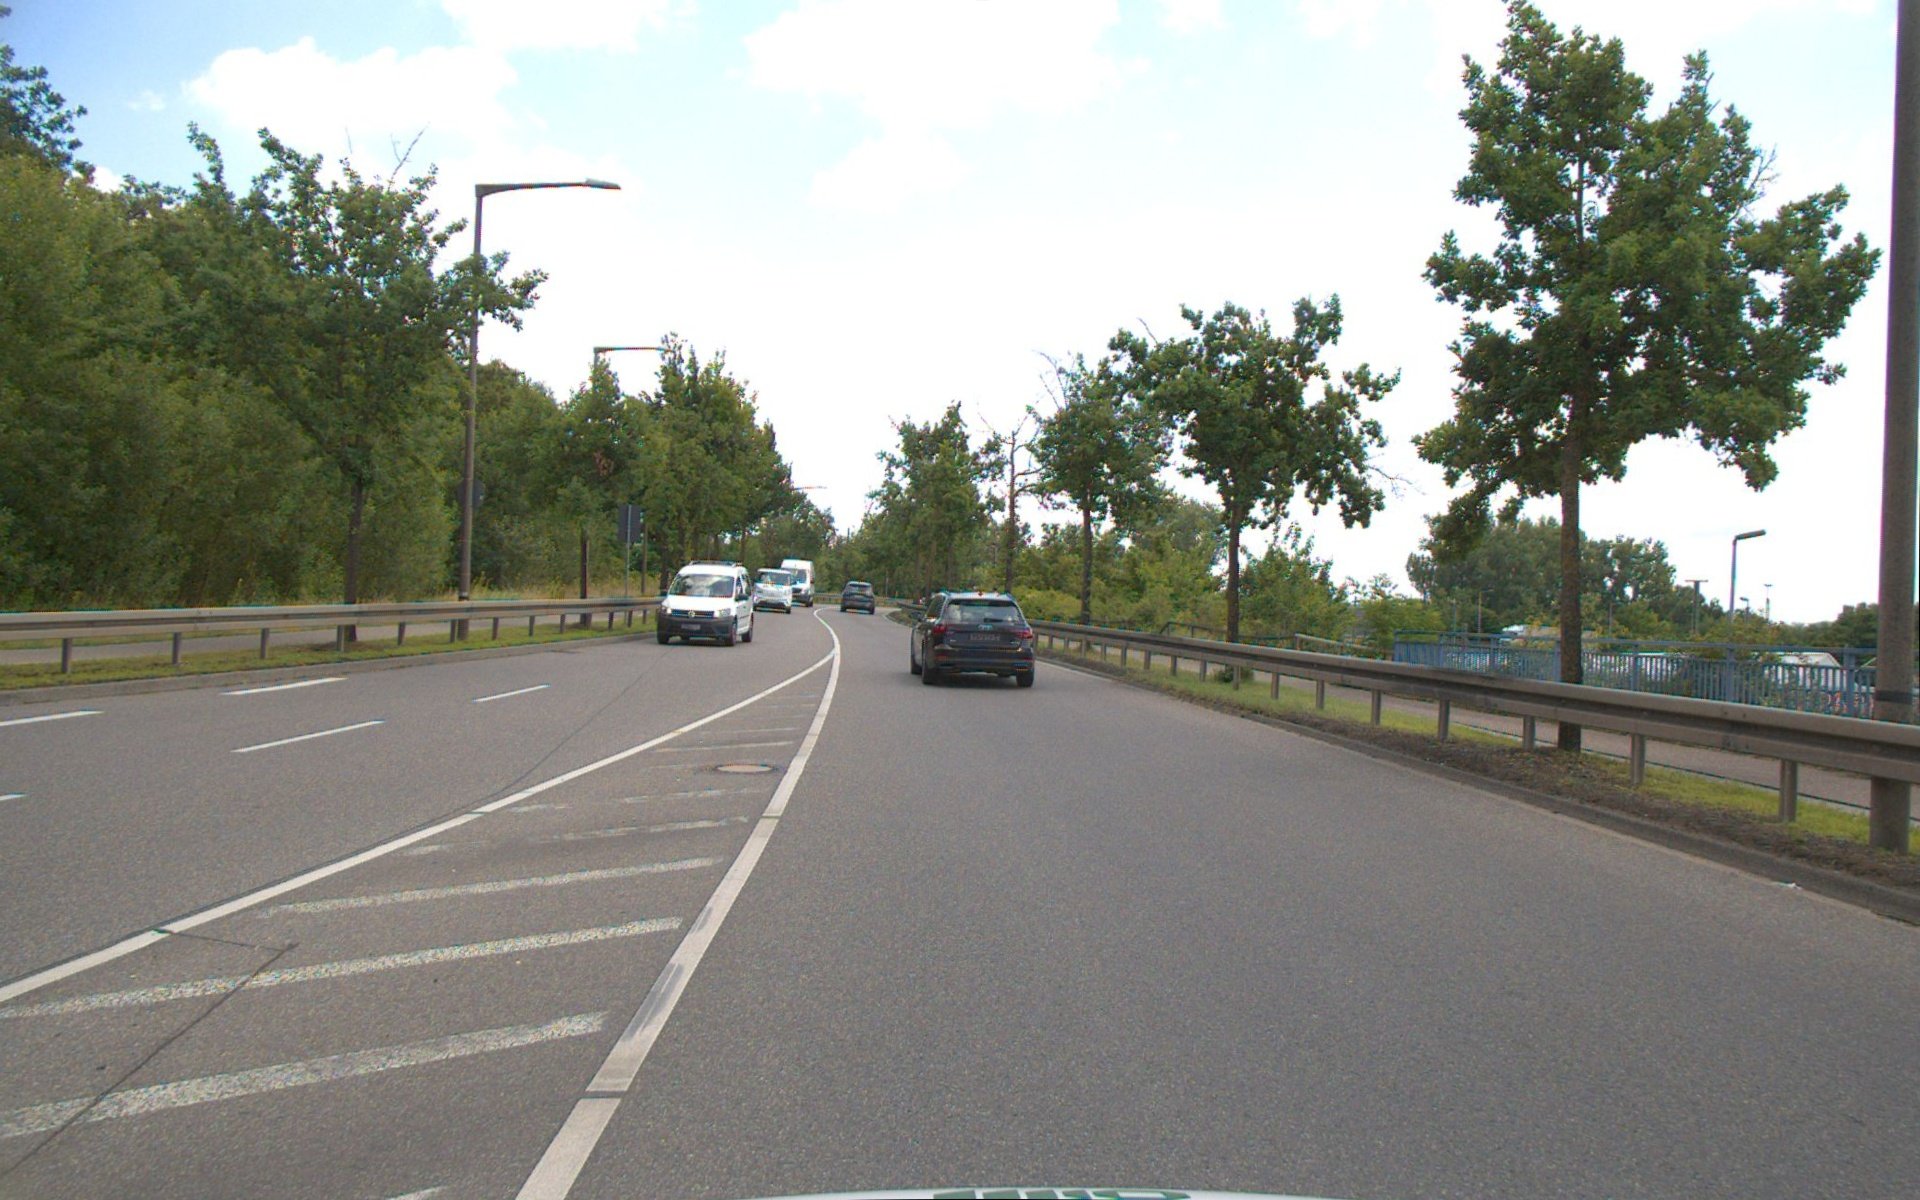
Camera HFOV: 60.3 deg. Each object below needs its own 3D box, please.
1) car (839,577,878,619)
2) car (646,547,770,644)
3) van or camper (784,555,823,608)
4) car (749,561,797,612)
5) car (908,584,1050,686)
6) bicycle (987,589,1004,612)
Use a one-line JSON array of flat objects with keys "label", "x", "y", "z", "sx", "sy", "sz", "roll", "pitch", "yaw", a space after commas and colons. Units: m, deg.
[{"label": "car", "x": -5.496, "y": -0.081, "z": 90.329, "sx": 1.954, "sy": 2.073, "sz": 4.710, "roll": 2, "pitch": -2, "yaw": -2}, {"label": "car", "x": -5.809, "y": -0.135, "z": 38.657, "sx": 1.952, "sy": 2.048, "sz": 4.560, "roll": 3, "pitch": 1, "yaw": 2}, {"label": "van or camper", "x": -8.985, "y": -1.005, "z": 94.892, "sx": 1.955, "sy": 2.798, "sz": 5.379, "roll": 4, "pitch": -1, "yaw": -6}, {"label": "car", "x": -8.344, "y": -0.581, "z": 73.752, "sx": 1.956, "sy": 2.049, "sz": 4.448, "roll": 4, "pitch": -1, "yaw": -7}, {"label": "car", "x": 0.215, "y": 0.524, "z": 27.112, "sx": 1.954, "sy": 1.414, "sz": 4.572, "roll": 3, "pitch": 0, "yaw": -3}, {"label": "bicycle", "x": 1.468, "y": 0.042, "z": 68.127, "sx": 0.531, "sy": 0.881, "sz": 1.749, "roll": 4, "pitch": -1, "yaw": -2}]
